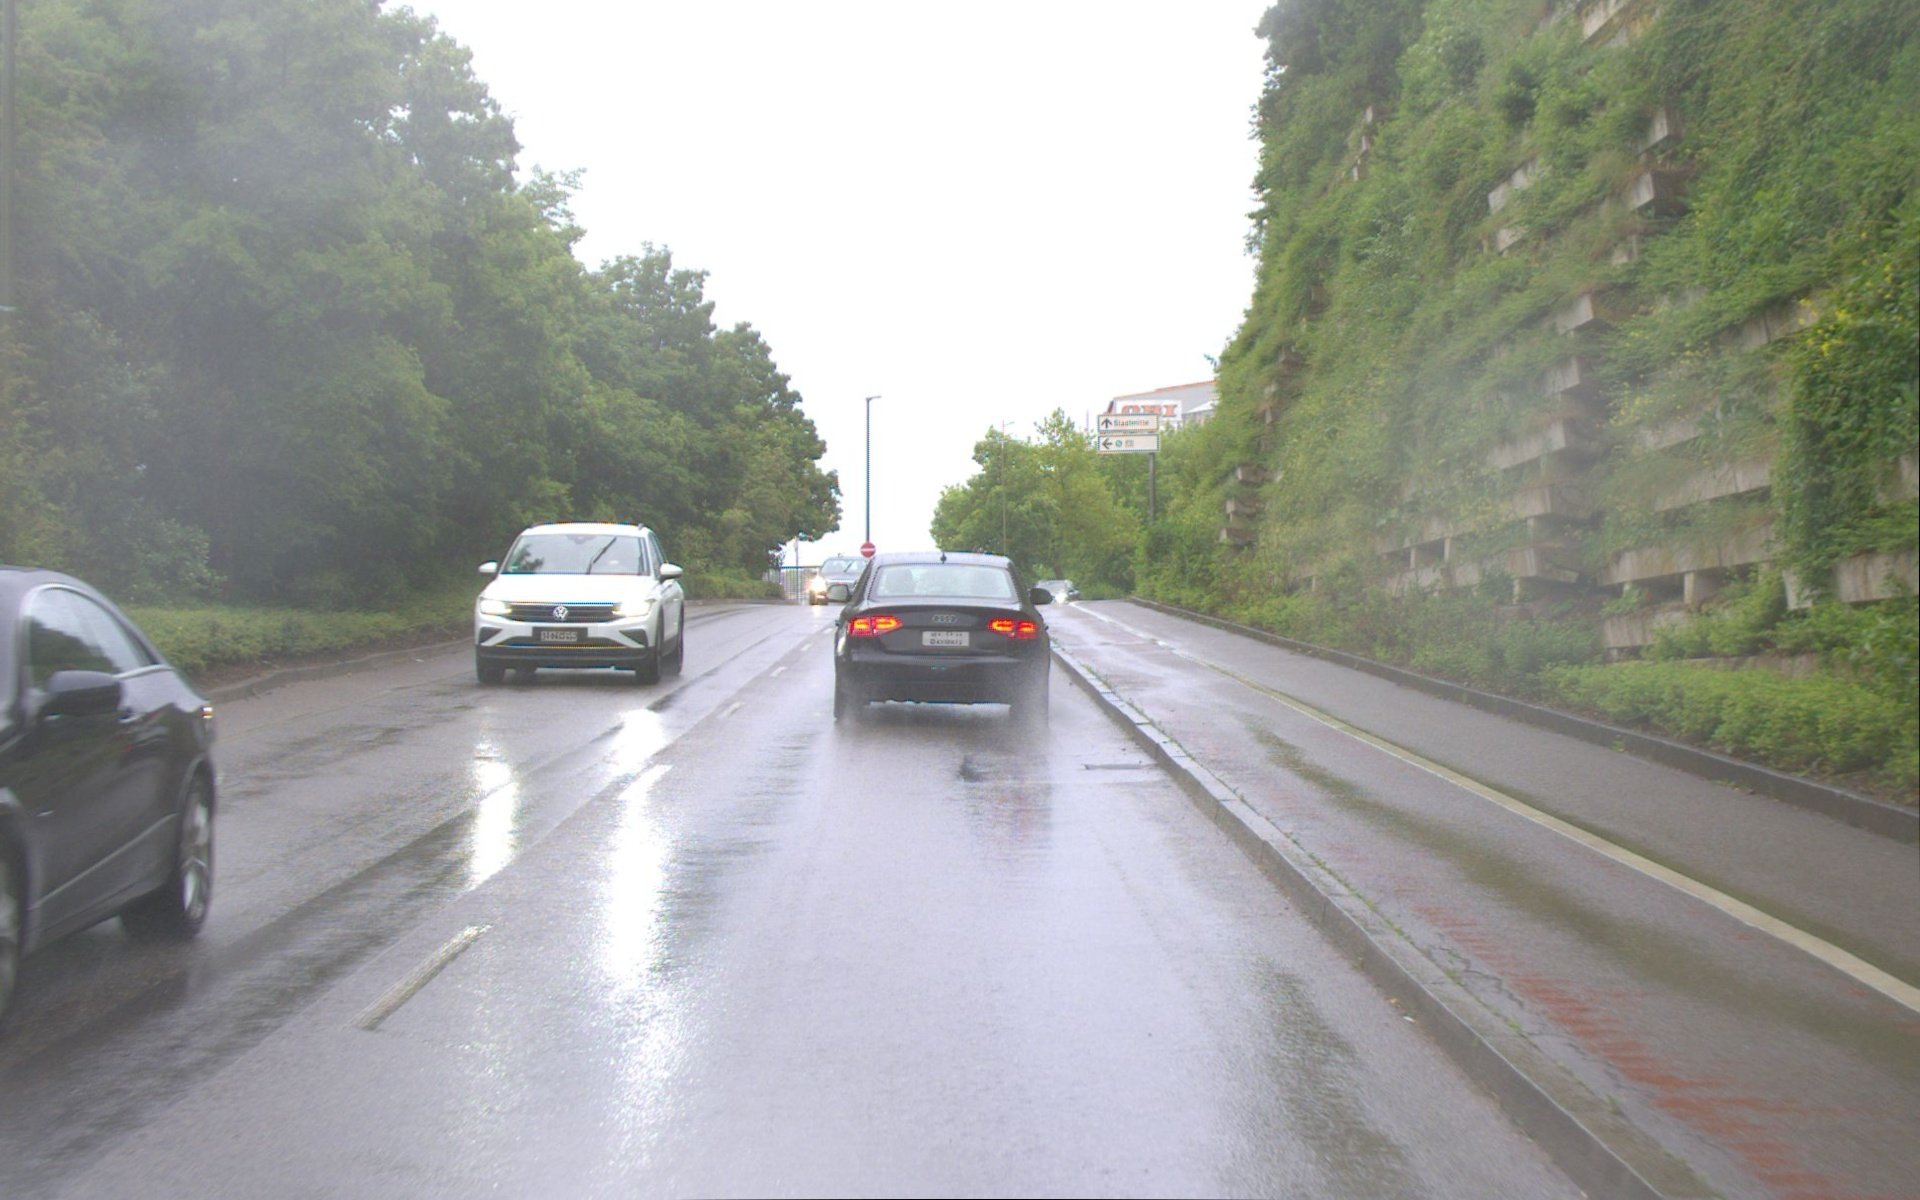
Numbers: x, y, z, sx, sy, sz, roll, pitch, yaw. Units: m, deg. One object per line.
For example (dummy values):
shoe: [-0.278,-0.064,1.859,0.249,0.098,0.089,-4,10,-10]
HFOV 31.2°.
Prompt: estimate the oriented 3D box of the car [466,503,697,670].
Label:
car: [-3.862,-0.177,35.682,1.823,1.609,4.093,1,1,2]

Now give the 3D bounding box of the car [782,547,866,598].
car: [-3.824,-0.801,97.079,1.994,1.359,4.251,1,1,3]

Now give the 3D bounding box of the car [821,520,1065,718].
car: [-0.070,0.101,29.271,1.893,1.487,4.207,-1,2,2]

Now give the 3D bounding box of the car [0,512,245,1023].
car: [-3.722,0.438,11.554,1.865,1.444,4.378,0,1,-2]
